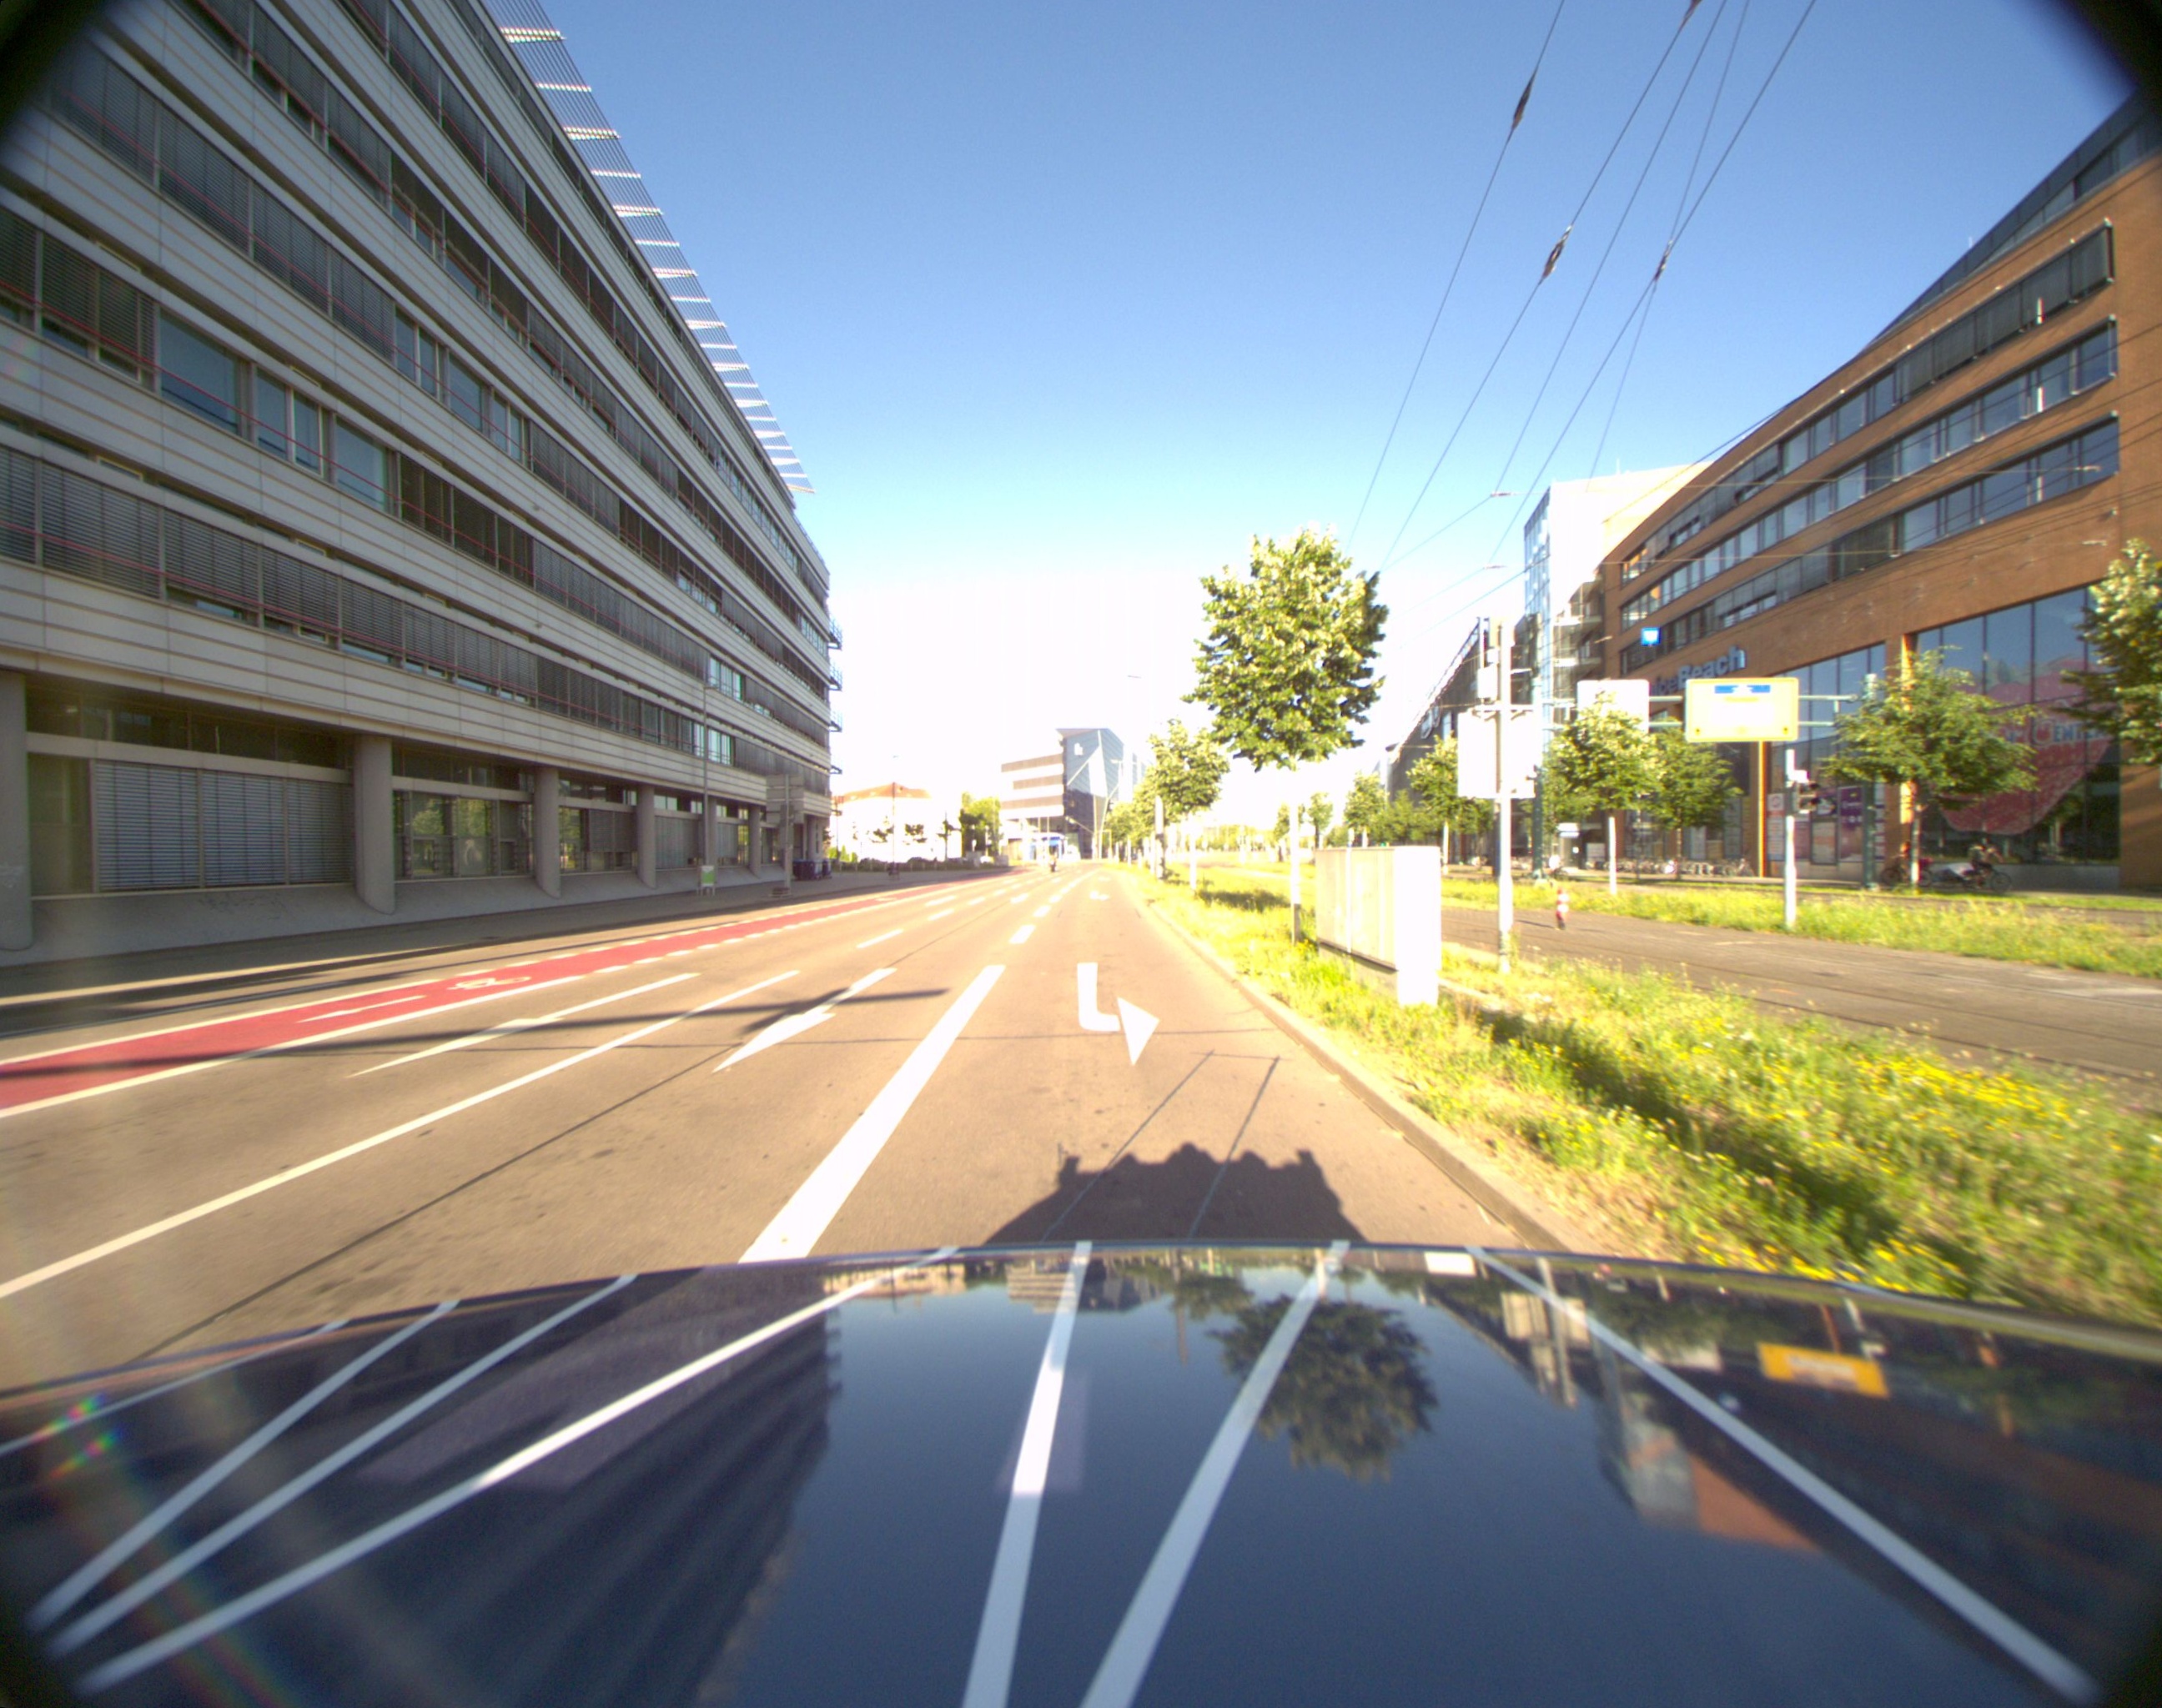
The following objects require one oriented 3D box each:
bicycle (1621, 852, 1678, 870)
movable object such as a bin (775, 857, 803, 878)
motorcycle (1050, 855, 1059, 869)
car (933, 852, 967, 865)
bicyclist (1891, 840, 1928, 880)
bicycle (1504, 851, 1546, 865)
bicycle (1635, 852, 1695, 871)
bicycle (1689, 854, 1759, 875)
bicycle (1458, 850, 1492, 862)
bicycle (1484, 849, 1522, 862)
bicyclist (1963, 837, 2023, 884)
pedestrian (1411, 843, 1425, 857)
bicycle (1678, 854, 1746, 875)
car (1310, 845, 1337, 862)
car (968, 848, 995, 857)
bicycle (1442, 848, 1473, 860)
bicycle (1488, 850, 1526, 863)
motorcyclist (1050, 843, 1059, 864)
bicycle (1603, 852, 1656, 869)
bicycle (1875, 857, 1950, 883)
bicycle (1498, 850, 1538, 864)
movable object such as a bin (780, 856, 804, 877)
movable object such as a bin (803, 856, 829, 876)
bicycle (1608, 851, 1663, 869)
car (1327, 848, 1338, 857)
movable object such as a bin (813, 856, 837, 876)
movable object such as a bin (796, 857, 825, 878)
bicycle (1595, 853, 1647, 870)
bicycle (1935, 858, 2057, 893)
[{"bbox_3d":[34.770,0.422,46.517,2.687,1.097,0.897,-1,0,11],"label":"bicycle"},{"bbox_3d":[-18.322,0.855,47.706,1.328,1.294,1.174,-1,1,1],"label":"movable object such as a bin"},{"bbox_3d":[-2.413,0.696,68.480,0.821,1.214,2.255,0,1,-2],"label":"motorcycle"},{"bbox_3d":[-15.147,0.517,87.797,3.790,1.523,1.744,0,1,37],"label":"car"},{"bbox_3d":[32.460,0.225,29.772,0.691,1.521,0.703,-1,1,0],"label":"bicyclist"},{"bbox_3d":[35.275,0.295,60.403,2.687,1.097,0.897,-1,0,11],"label":"bicycle"},{"bbox_3d":[34.695,0.445,45.179,2.687,1.097,0.897,-1,0,11],"label":"bicycle"},{"bbox_3d":[33.471,0.545,39.579,2.687,1.097,0.897,-1,0,11],"label":"bicycle"},{"bbox_3d":[37.102,0.157,71.496,2.687,1.097,0.897,-1,0,11],"label":"bicycle"},{"bbox_3d":[36.547,0.170,65.855,2.687,1.097,0.897,-1,0,11],"label":"bicycle"},{"bbox_3d":[30.516,0.221,25.441,0.895,1.539,0.939,0,0,1],"label":"bicyclist"},{"bbox_3d":[39.150,-0.451,88.213,1.072,1.671,1.095,-1,1,-5],"label":"pedestrian"},{"bbox_3d":[33.672,0.548,40.607,2.687,1.097,0.897,-1,0,11],"label":"bicycle"},{"bbox_3d":[23.274,-0.080,73.085,1.625,1.519,4.806,-1,1,8],"label":"car"},{"bbox_3d":[-17.214,-0.228,131.251,4.350,1.519,1.679,0,1,6],"label":"car"},{"bbox_3d":[38.169,-0.010,77.058,2.687,1.182,0.897,-1,0,11],"label":"bicycle"},{"bbox_3d":[36.426,0.184,64.945,2.687,1.097,0.826,-1,0,11],"label":"bicycle"},{"bbox_3d":[-2.409,-0.024,68.553,0.821,1.846,1.112,0,1,-2],"label":"motorcyclist"},{"bbox_3d":[35.621,0.444,49.379,2.687,1.097,0.897,-1,0,11],"label":"bicycle"},{"bbox_3d":[32.468,0.616,29.713,0.691,0.944,2.067,-1,1,0],"label":"bicycle"},{"bbox_3d":[35.816,0.247,62.274,2.687,1.097,0.897,-1,0,11],"label":"bicycle"},{"bbox_3d":[-18.889,0.804,49.637,1.109,1.366,1.108,-1,1,1],"label":"movable object such as a bin"},{"bbox_3d":[-17.720,0.825,50.852,1.173,1.294,1.329,-1,1,1],"label":"movable object such as a bin"},{"bbox_3d":[35.104,0.385,48.155,2.687,1.097,0.897,-1,0,11],"label":"bicycle"},{"bbox_3d":[45.344,-0.311,137.054,1.623,1.519,4.362,1,1,22],"label":"car"},{"bbox_3d":[-17.568,0.827,52.195,1.173,1.294,1.329,-1,1,1],"label":"movable object such as a bin"},{"bbox_3d":[-16.958,0.845,47.680,1.328,1.294,1.174,-1,1,1],"label":"movable object such as a bin"},{"bbox_3d":[35.846,0.484,50.451,2.687,1.097,0.897,-1,0,11],"label":"bicycle"},{"bbox_3d":[30.513,0.694,25.430,0.895,1.097,2.692,0,0,2],"label":"bicycle"}]
